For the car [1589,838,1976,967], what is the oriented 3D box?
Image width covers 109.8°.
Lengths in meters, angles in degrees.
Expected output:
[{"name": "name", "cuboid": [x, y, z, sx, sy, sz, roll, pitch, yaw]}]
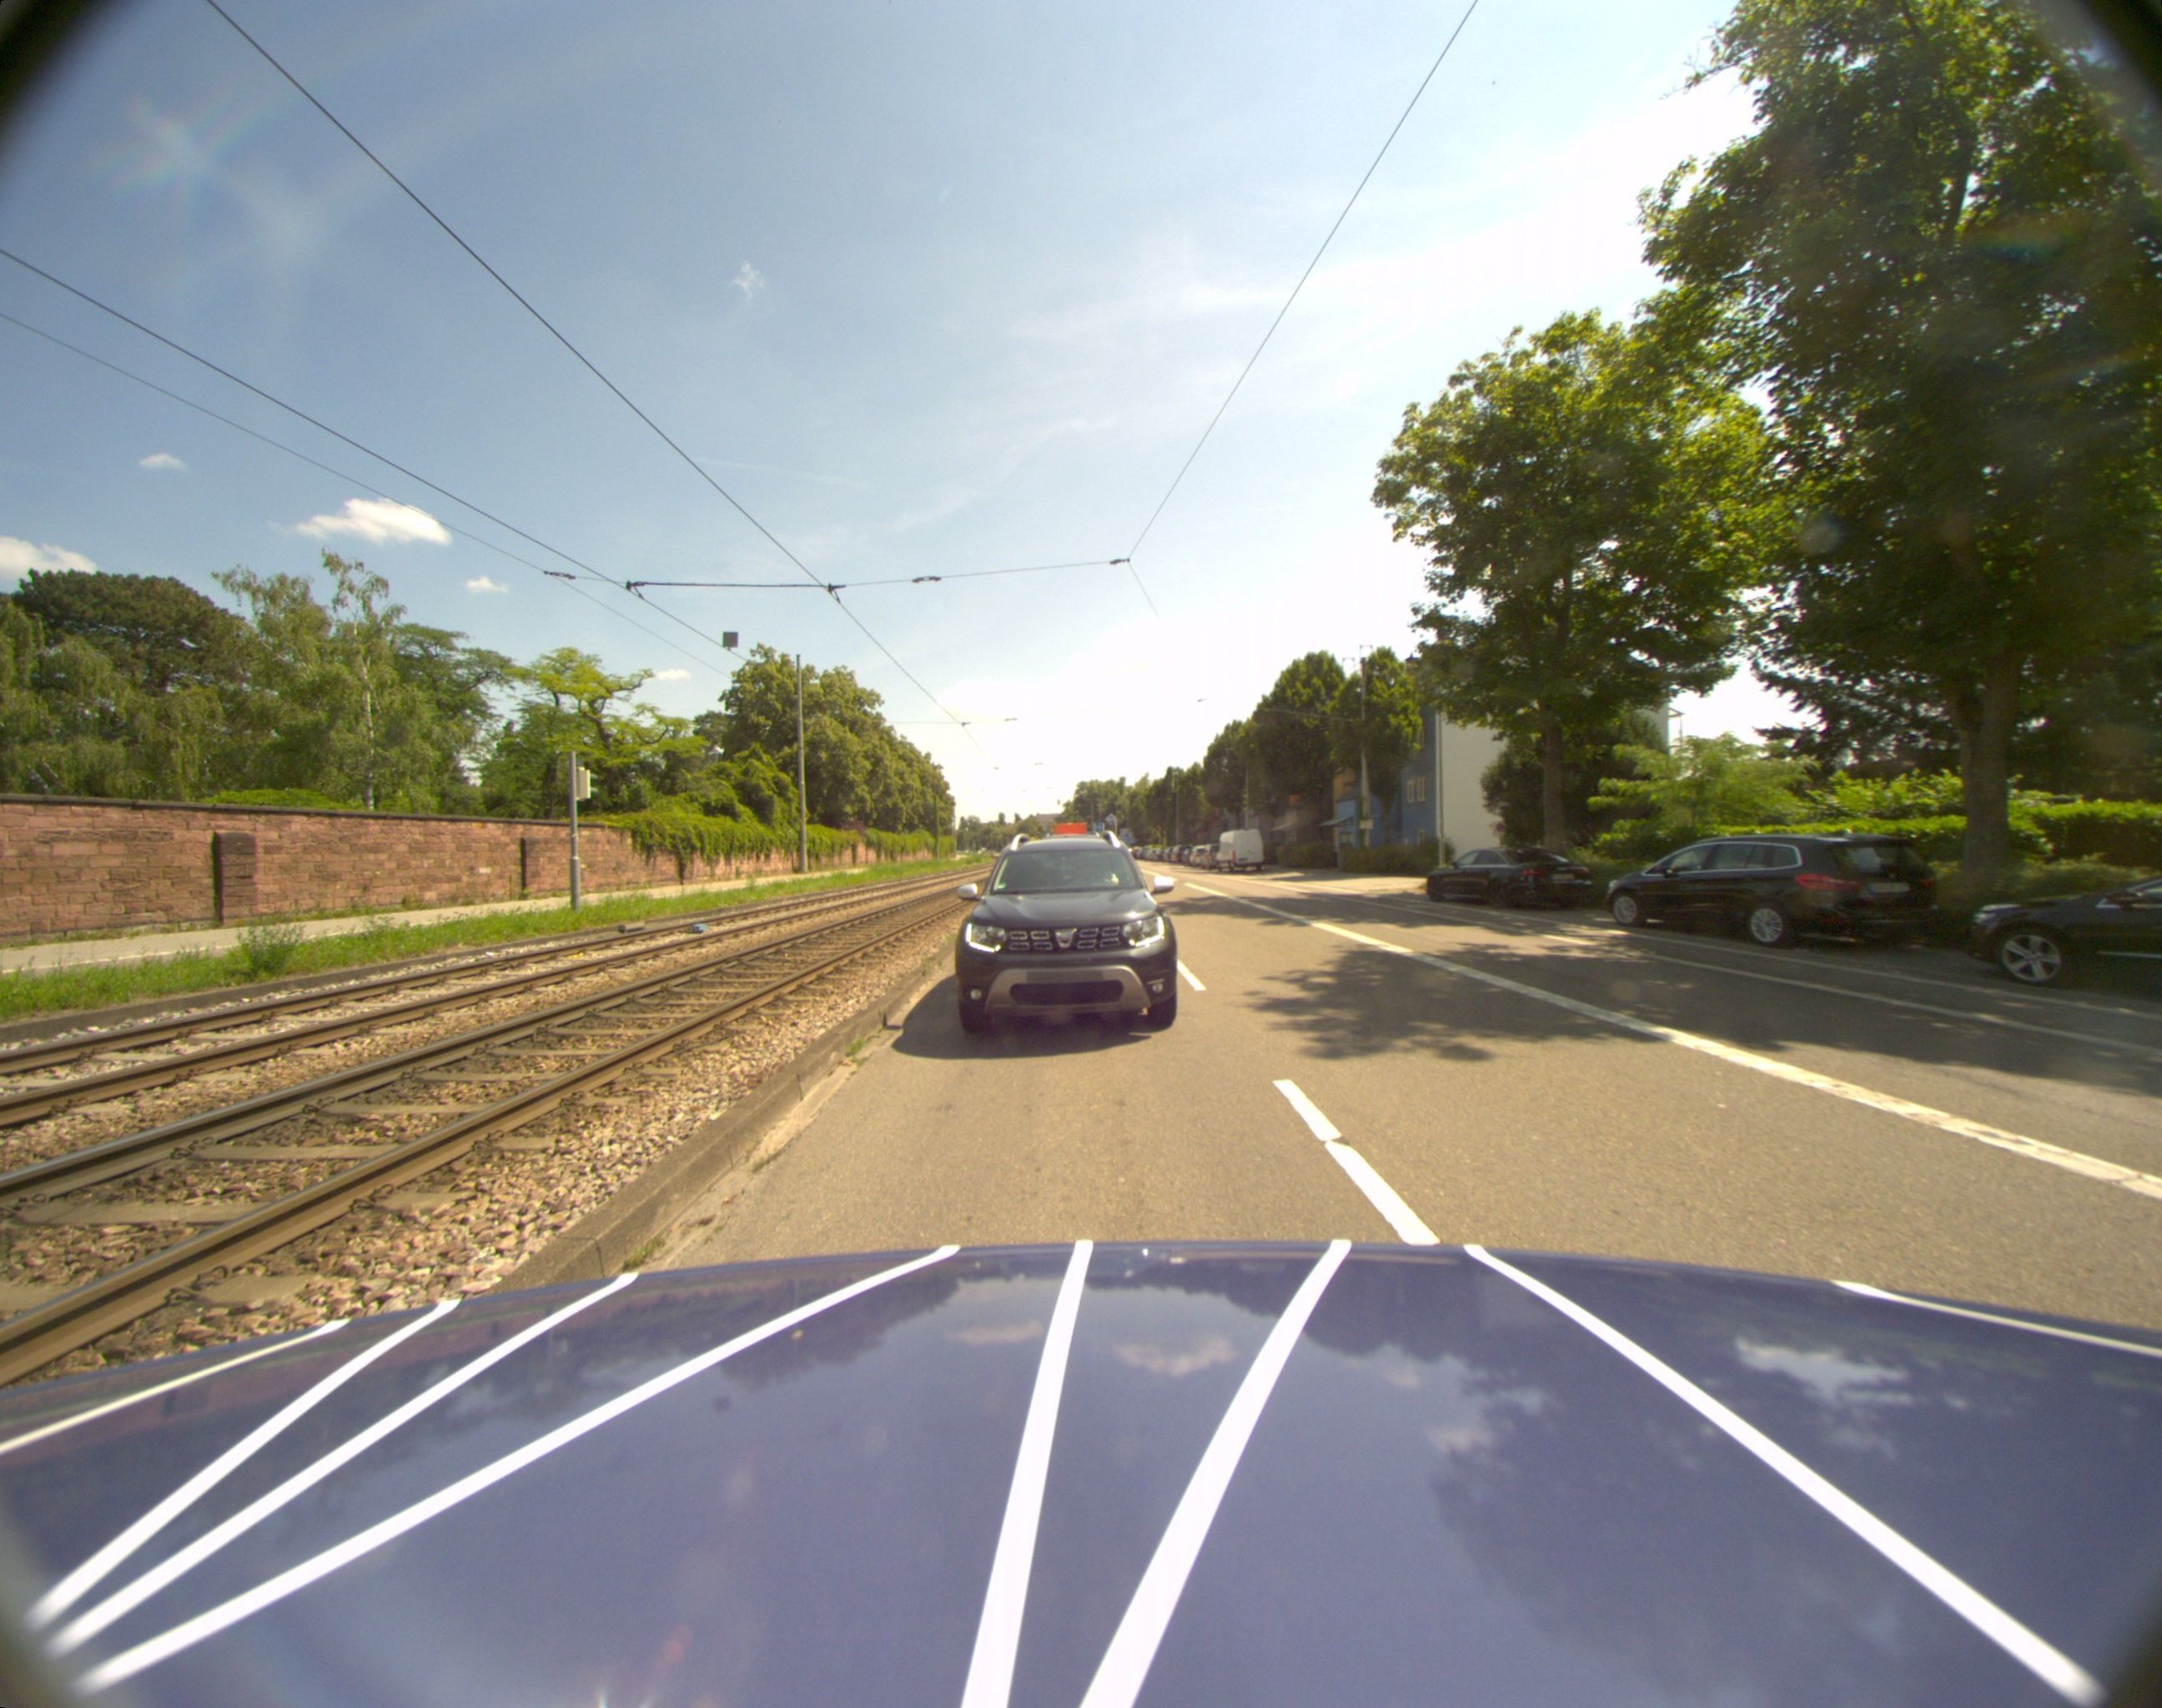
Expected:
[{"name": "car", "cuboid": [10.563, 0.598, 12.072, 1.779, 1.595, 4.636, -2, 1, -2]}]

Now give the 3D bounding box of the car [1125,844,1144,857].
[{"name": "car", "cuboid": [7.284, -0.474, 103.196, 1.661, 1.600, 4.170, -1, 1, -9]}]

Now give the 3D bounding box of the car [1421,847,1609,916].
[{"name": "car", "cuboid": [10.417, 0.566, 18.758, 1.779, 1.447, 4.803, -1, 1, -2]}]

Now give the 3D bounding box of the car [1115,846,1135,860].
[{"name": "car", "cuboid": [4.620, -0.165, 79.923, 1.682, 1.390, 4.004, 1, 1, -2]}]

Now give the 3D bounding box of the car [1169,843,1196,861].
[{"name": "car", "cuboid": [9.912, -0.187, 74.434, 1.756, 1.706, 4.886, -1, 0, -3]}]

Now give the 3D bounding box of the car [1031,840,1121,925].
[{"name": "car", "cuboid": [-0.135, 0.549, 17.799, 1.802, 1.683, 4.143, -2, 1, -1]}]

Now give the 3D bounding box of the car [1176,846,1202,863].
[{"name": "car", "cuboid": [9.840, 0.019, 69.311, 1.603, 1.462, 4.086, -1, 1, -3]}]

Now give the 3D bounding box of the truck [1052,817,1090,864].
[{"name": "truck", "cuboid": [-0.852, -1.082, 63.016, 2.846, 3.575, 8.703, -1, 1, -1]}]

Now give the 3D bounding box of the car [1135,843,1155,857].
[{"name": "car", "cuboid": [8.119, -0.541, 97.385, 1.660, 1.600, 4.684, -3, 1, -6]}]

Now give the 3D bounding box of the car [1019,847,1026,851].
[{"name": "car", "cuboid": [-18.345, -1.563, 239.934, 2.000, 1.379, 3.997, -1, 0, -8]}]

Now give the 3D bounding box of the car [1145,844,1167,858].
[{"name": "car", "cuboid": [9.018, -0.437, 91.930, 1.660, 1.500, 4.892, -4, 2, -6]}]

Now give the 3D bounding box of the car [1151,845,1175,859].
[{"name": "car", "cuboid": [9.216, -0.244, 85.788, 1.746, 1.438, 4.961, -2, 1, -5]}]

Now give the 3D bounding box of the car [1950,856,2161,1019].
[{"name": "car", "cuboid": [10.685, 0.777, 6.175, 1.779, 1.365, 4.695, -3, 1, -2]}]

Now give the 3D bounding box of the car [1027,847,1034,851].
[{"name": "car", "cuboid": [-16.589, -1.684, 248.093, 2.000, 1.379, 3.997, -1, 0, -8]}]

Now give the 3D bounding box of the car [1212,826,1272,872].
[{"name": "car", "cuboid": [10.493, -0.326, 50.260, 2.329, 2.636, 7.034, -5, 1, 1]}]

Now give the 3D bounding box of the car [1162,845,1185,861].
[{"name": "car", "cuboid": [9.698, -0.175, 79.880, 1.660, 1.608, 4.283, 0, 1, -3]}]

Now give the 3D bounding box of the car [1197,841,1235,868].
[{"name": "car", "cuboid": [10.300, -0.025, 58.367, 1.811, 1.884, 5.361, -3, 1, 0]}]

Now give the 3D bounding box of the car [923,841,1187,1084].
[{"name": "car", "cuboid": [-0.215, 0.724, 7.764, 1.802, 1.652, 4.786, -2, 1, -1]}]

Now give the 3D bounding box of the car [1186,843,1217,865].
[{"name": "car", "cuboid": [10.109, -0.031, 63.891, 1.721, 1.742, 4.902, 0, 1, -1]}]

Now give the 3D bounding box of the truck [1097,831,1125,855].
[{"name": "truck", "cuboid": [4.847, -1.765, 123.293, 2.840, 3.528, 8.163, -3, 1, -9]}]
